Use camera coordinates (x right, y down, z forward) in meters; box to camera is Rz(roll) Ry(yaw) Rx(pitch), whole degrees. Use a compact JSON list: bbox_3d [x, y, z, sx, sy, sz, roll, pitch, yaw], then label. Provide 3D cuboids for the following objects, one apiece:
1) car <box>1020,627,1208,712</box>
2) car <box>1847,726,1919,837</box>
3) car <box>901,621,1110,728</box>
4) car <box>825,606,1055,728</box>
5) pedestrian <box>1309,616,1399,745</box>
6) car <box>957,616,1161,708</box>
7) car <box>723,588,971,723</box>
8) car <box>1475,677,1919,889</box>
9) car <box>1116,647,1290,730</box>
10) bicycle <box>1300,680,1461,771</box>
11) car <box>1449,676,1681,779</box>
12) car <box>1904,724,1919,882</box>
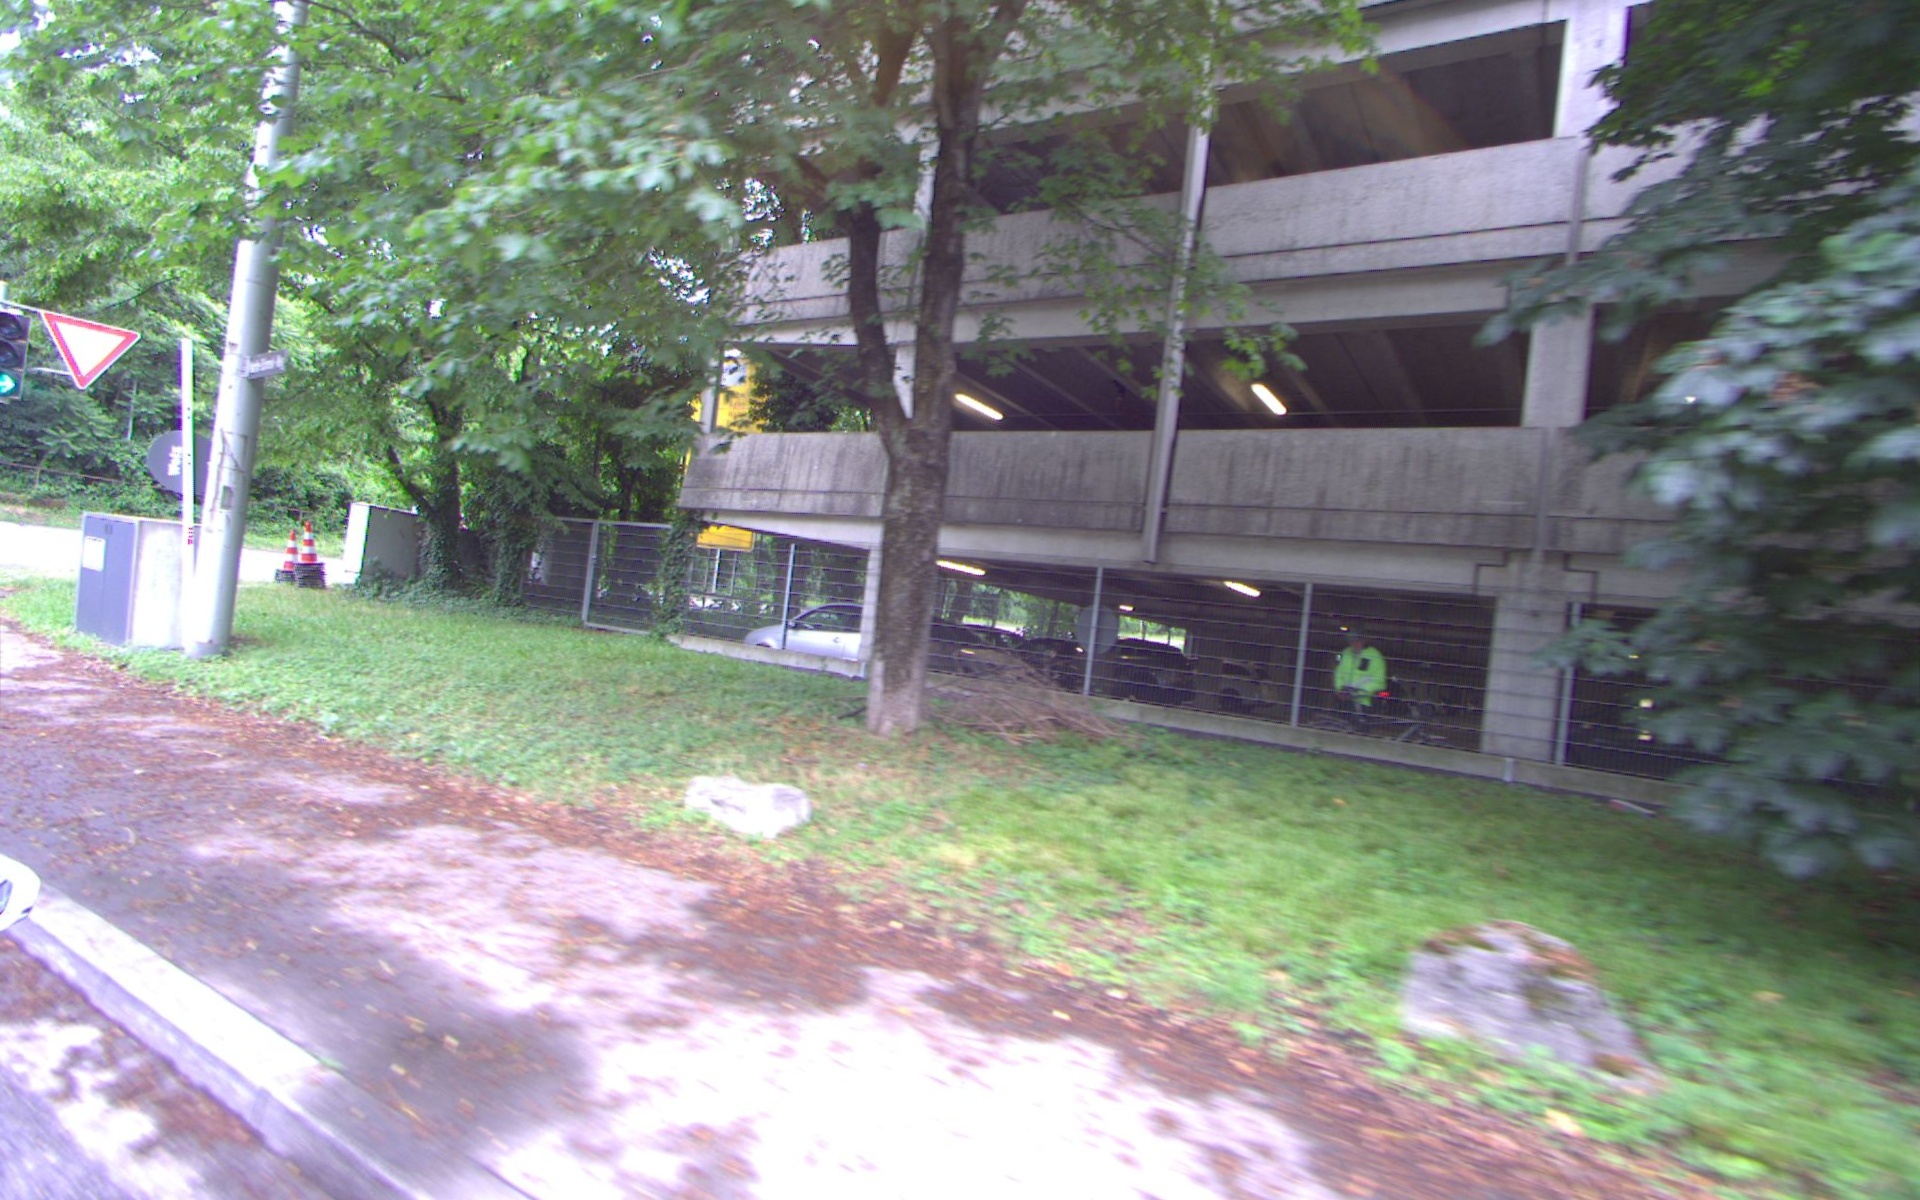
[{"bbox_3d":[3.709,1.668,24.365,3.934,1.569,1.998,4,-4,32],"label":"car"},{"bbox_3d":[16.330,2.997,15.491,3.640,1.625,1.721,5,-3,30],"label":"car"},{"bbox_3d":[0.897,1.479,20.084,3.658,1.682,1.734,4,-3,32],"label":"car"},{"bbox_3d":[-0.395,1.178,18.026,3.708,1.727,1.584,4,-3,32],"label":"car"},{"bbox_3d":[4.361,0.888,11.124,0.629,1.332,0.639,4,-3,44],"label":"pedestrian"},{"bbox_3d":[2.189,1.370,22.424,3.934,1.569,1.998,4,-4,32],"label":"car"},{"bbox_3d":[-1.841,0.871,16.099,3.658,1.727,1.484,4,-3,32],"label":"car"},{"bbox_3d":[9.910,2.385,14.052,4.597,2.036,1.998,4,-3,31],"label":"car"},{"bbox_3d":[7.399,2.686,30.766,4.659,1.855,1.923,6,-3,33],"label":"car"},{"bbox_3d":[4.405,1.303,10.589,1.469,0.744,0.448,5,-3,24],"label":"bicycle"},{"bbox_3d":[12.630,2.648,21.242,3.935,1.585,1.721,5,-3,30],"label":"car"},{"bbox_3d":[13.968,2.704,11.690,3.936,2.036,1.997,4,-3,33],"label":"car"}]
